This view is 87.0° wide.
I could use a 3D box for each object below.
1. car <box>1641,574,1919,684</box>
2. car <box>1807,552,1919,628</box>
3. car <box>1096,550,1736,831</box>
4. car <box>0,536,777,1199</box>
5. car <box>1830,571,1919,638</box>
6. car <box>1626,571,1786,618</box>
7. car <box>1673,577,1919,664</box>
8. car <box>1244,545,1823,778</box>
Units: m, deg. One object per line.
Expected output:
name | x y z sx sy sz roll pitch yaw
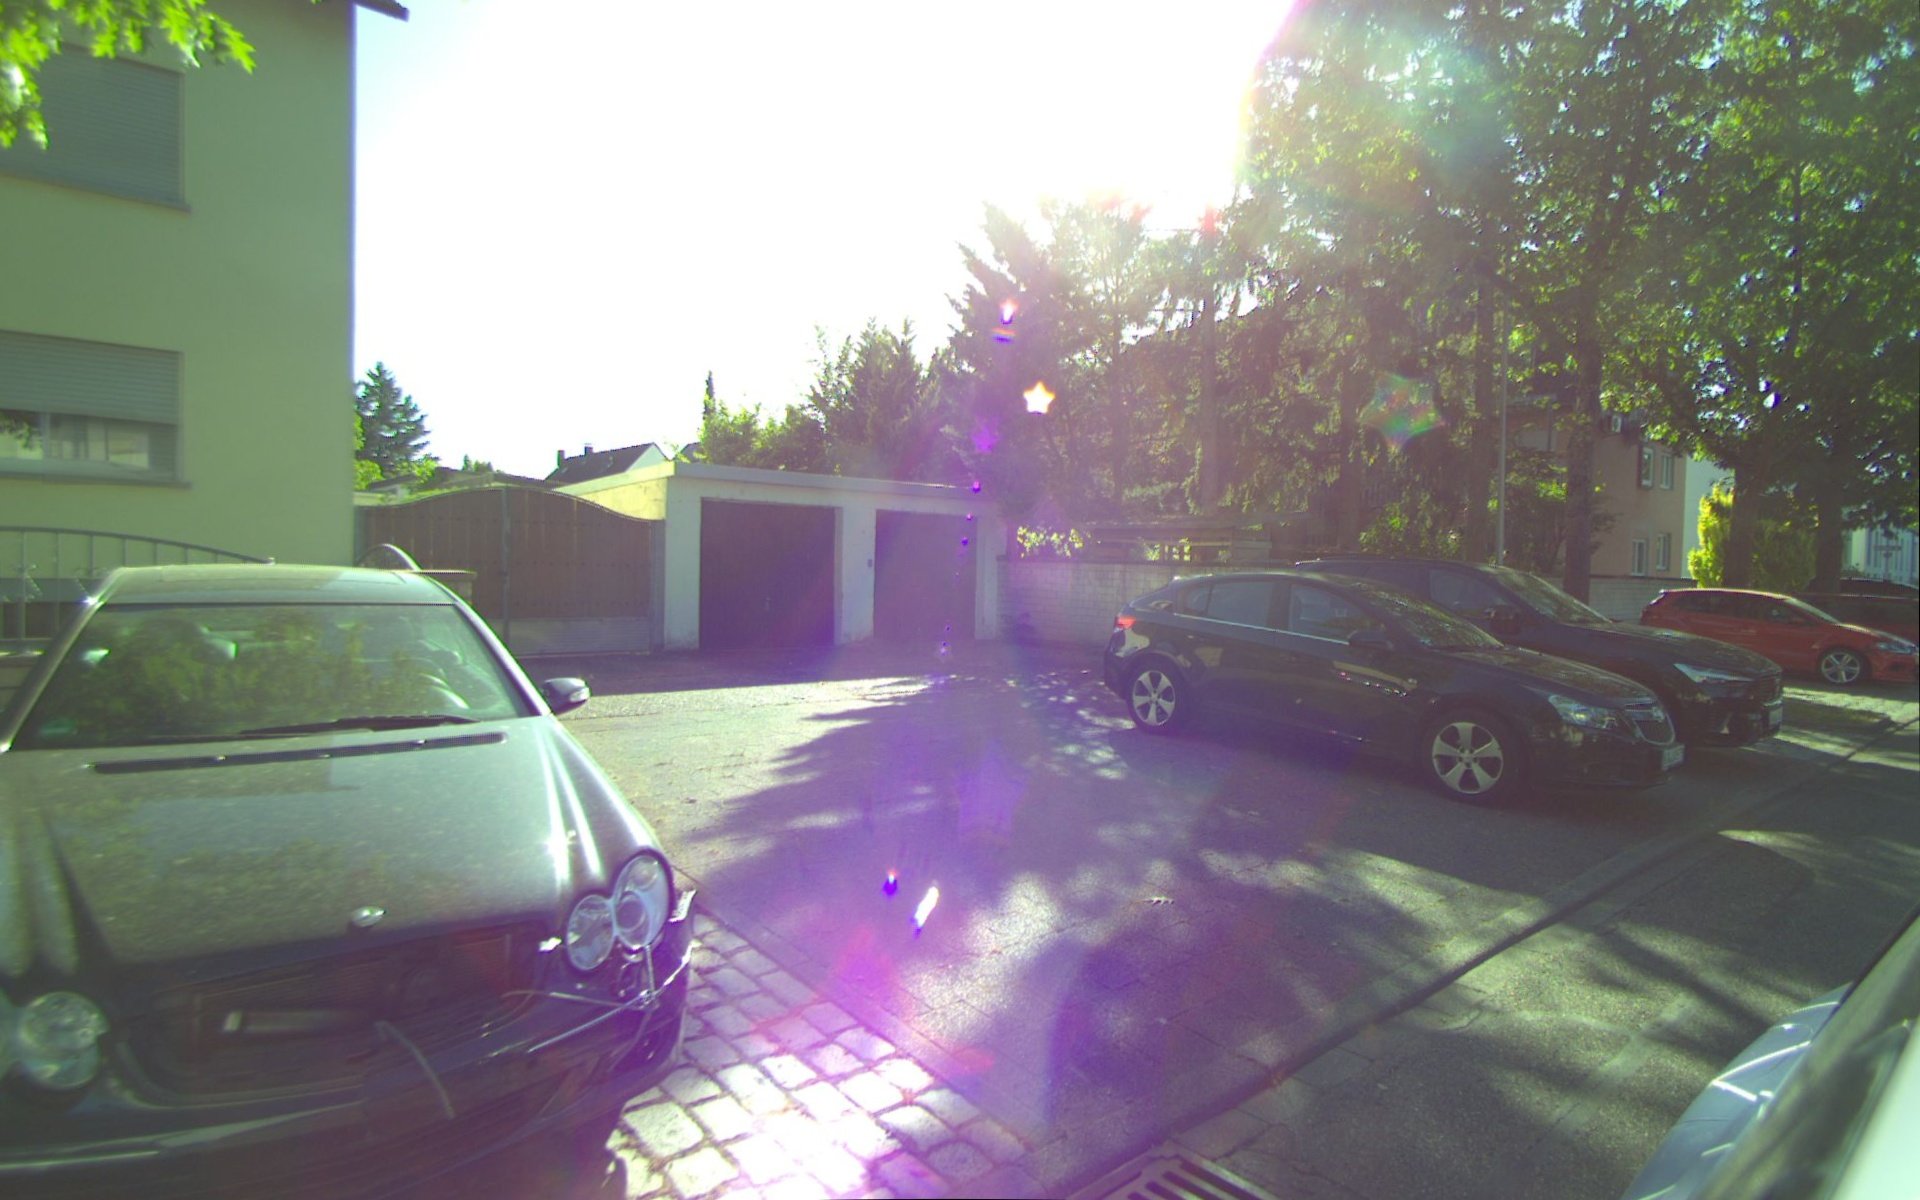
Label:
car | 14.206 0.393 17.383 1.724 1.502 3.788 -2 4 -38
car | 24.648 -0.220 25.896 1.757 1.803 4.224 -1 5 -39
car | 3.346 0.448 8.185 1.808 1.548 4.330 -1 4 -40
car | -2.469 0.499 3.720 1.660 1.347 4.441 -1 4 -38
car | 26.992 0.184 27.696 1.846 1.699 4.515 -1 5 -39
car | 31.735 -0.269 43.198 1.880 1.837 5.202 0 2 -42
car | 17.553 0.352 20.677 1.805 1.463 4.516 -1 4 -38
car | 5.307 0.359 9.975 1.806 1.666 4.585 -1 4 -40
